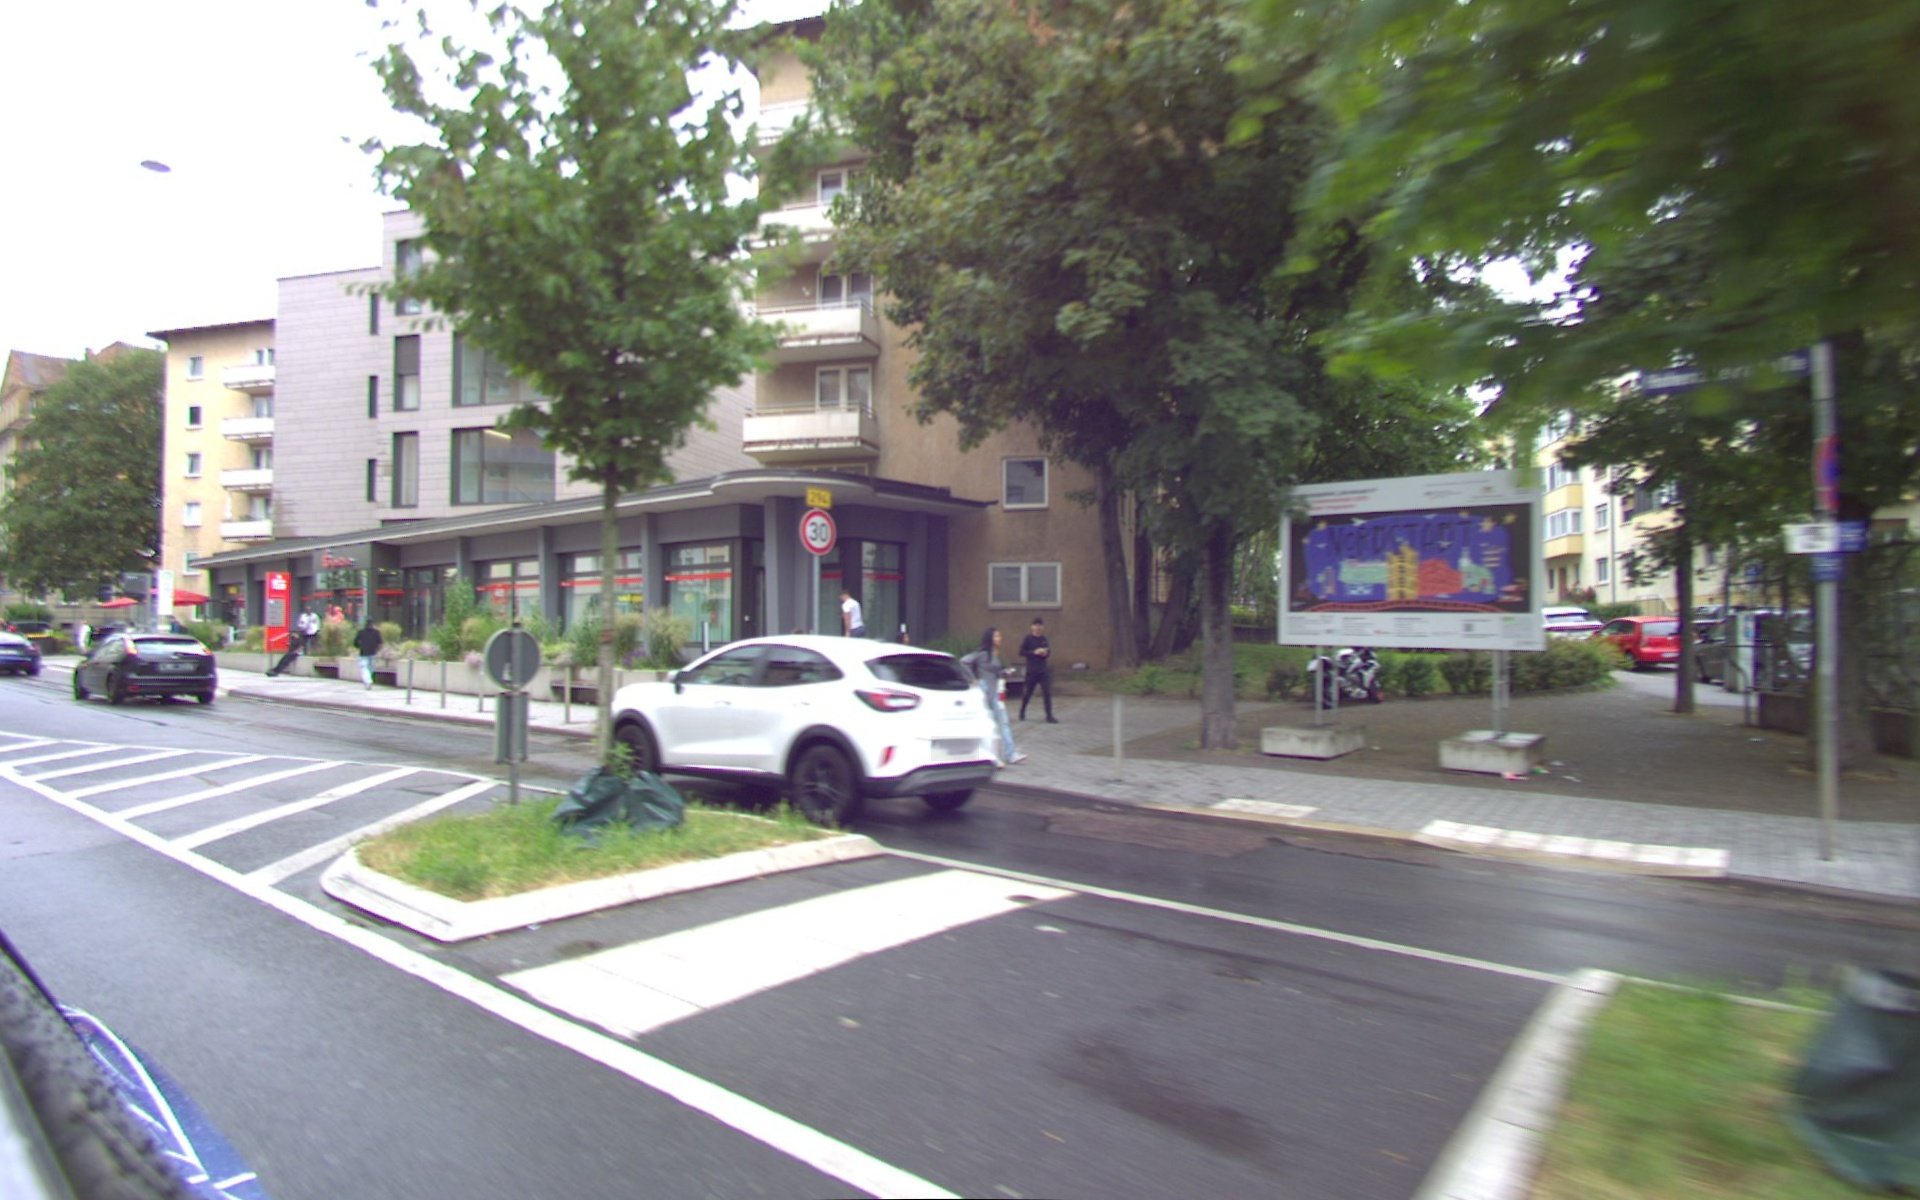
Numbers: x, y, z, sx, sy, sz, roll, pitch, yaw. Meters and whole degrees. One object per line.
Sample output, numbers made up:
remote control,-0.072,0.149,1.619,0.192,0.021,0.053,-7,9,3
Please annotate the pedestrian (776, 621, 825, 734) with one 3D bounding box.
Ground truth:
pedestrian,-2.433,1.159,15.459,0.551,1.686,0.493,-1,-1,35

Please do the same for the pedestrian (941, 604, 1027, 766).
pedestrian,0.292,0.984,12.022,0.847,1.840,0.720,-1,-1,16

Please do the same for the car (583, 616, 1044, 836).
car,-1.453,1.023,9.299,4.082,1.581,1.803,-1,-6,37

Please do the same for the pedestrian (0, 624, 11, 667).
pedestrian,-45.309,2.140,47.703,0.781,2.029,0.695,0,-1,34

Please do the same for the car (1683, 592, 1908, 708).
car,17.905,1.040,21.976,1.978,2.273,3.987,0,-2,10

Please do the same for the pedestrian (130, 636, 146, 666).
pedestrian,-31.129,1.928,38.344,0.386,1.125,0.388,-1,-2,38

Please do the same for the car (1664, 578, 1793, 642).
car,26.209,0.373,34.687,1.980,2.029,3.984,0,-1,12

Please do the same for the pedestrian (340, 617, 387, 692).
pedestrian,-14.836,1.345,25.187,0.716,1.840,0.719,-1,-1,19

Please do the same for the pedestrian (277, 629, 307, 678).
pedestrian,-20.074,1.600,30.424,0.582,1.431,0.727,0,-1,-17

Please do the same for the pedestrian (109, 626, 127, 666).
pedestrian,-32.987,1.803,39.659,0.532,1.561,0.433,-1,-2,37

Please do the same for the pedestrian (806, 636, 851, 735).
pedestrian,-2.053,1.315,15.789,0.529,1.484,0.456,-1,-1,35

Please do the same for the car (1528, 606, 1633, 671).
car,20.466,1.257,33.557,1.983,2.029,3.977,-1,-2,17

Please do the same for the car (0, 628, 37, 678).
car,-31.609,1.690,32.709,4.908,1.523,1.935,-1,-2,40

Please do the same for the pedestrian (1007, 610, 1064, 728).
pedestrian,1.239,1.099,16.517,0.690,1.859,0.855,-1,-2,24

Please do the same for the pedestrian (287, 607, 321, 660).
pedestrian,-21.280,1.092,32.834,0.712,1.691,0.707,-1,-2,38

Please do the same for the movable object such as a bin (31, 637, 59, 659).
movable object such as a bin,-46.064,2.413,50.952,0.805,1.066,0.739,0,-1,13

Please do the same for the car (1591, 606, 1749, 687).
car,19.210,1.204,27.625,1.978,2.029,3.987,0,-1,10

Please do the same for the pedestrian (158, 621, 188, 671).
pedestrian,-28.845,1.672,37.101,0.867,1.833,0.585,-1,-1,30

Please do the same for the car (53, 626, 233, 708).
car,-17.376,1.367,21.467,4.235,1.569,1.937,-1,-3,37

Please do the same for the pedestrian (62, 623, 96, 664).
pedestrian,-37.956,1.855,43.594,0.755,1.721,0.789,-1,0,13

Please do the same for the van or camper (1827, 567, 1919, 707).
van or camper,16.670,0.586,16.114,2.187,2.283,4.605,-1,0,9

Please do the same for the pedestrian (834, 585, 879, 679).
pedestrian,-2.079,0.645,20.399,0.714,1.840,0.721,-1,-1,10

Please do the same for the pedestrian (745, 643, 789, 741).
pedestrian,-2.879,1.356,15.081,0.480,1.421,0.429,-1,-1,35

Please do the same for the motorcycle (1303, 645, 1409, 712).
motorcycle,7.087,1.369,18.082,2.025,0.995,0.798,-2,0,-37

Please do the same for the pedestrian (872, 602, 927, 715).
pedestrian,-0.969,0.931,16.364,0.714,1.772,0.654,0,-2,15

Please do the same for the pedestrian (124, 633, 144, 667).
pedestrian,-31.541,1.903,38.635,0.548,1.287,0.463,-1,-2,38

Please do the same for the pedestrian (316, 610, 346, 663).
pedestrian,-20.231,1.170,32.546,0.701,1.691,0.803,0,-1,-24

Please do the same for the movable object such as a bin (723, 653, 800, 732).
movable object such as a bin,-3.113,1.434,15.873,0.963,1.143,0.697,-1,0,35
